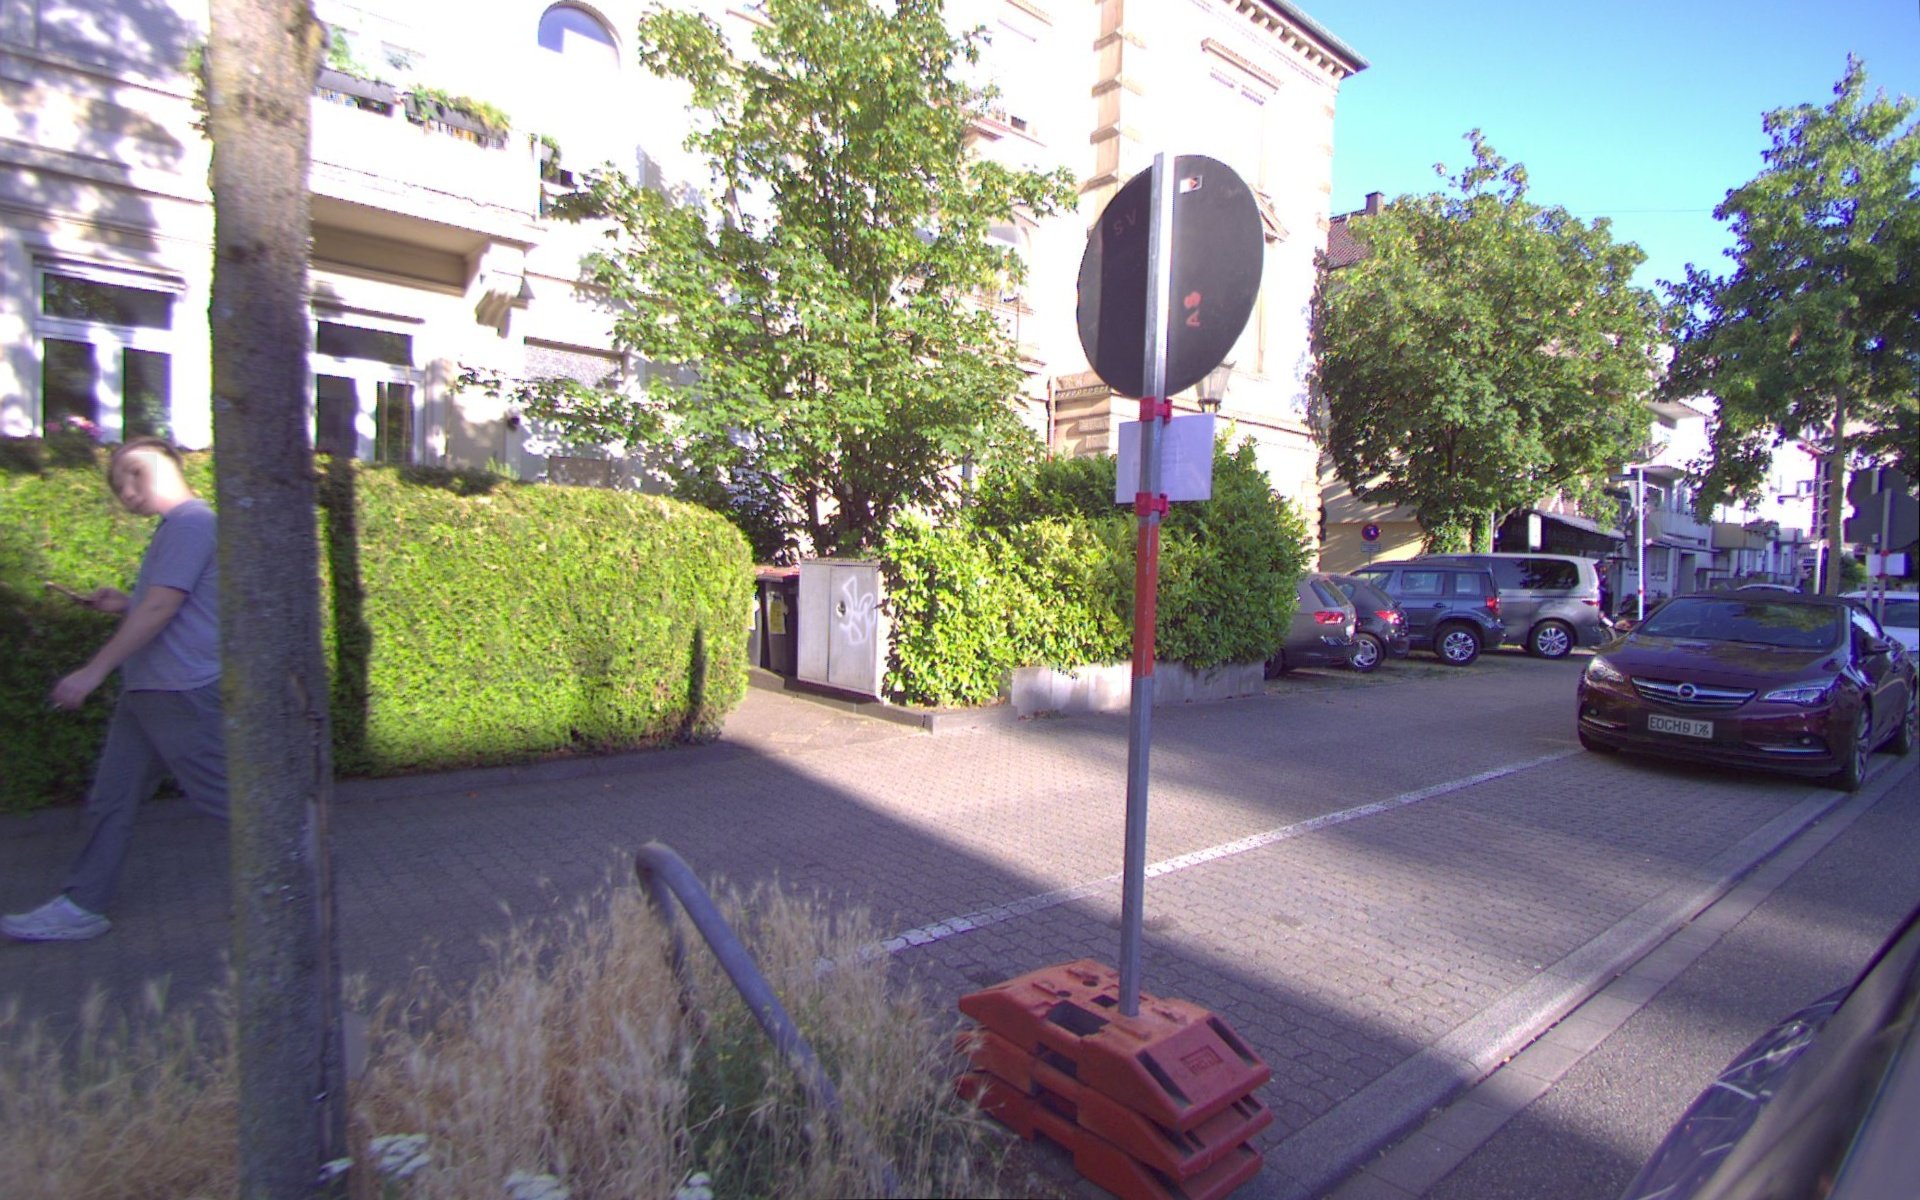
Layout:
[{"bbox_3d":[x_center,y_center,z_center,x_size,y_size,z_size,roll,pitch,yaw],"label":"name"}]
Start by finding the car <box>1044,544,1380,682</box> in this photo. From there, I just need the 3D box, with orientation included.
[{"bbox_3d":[3.492,0.082,14.269,4.220,1.529,1.772,4,3,32],"label":"car"}]

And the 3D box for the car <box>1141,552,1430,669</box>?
[{"bbox_3d":[5.086,0.085,15.882,4.061,1.458,1.701,4,3,27],"label":"car"}]

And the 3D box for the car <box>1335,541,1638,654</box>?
[{"bbox_3d":[9.810,-0.115,19.370,4.881,1.923,1.907,2,2,22],"label":"car"}]

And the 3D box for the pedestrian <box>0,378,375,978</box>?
[{"bbox_3d":[-2.822,0.219,3.645,1.071,1.796,0.821,0,2,-45],"label":"pedestrian"}]

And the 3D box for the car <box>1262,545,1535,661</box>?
[{"bbox_3d":[7.399,-0.016,17.462,4.050,1.720,1.776,3,2,21],"label":"car"}]

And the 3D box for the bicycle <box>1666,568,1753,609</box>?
[{"bbox_3d":[28.222,-0.448,38.138,0.912,1.459,2.457,0,2,-42],"label":"bicycle"}]

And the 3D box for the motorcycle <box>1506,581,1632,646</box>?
[{"bbox_3d":[12.784,0.259,21.278,2.153,1.255,0.778,3,2,40],"label":"motorcycle"}]

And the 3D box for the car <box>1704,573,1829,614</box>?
[{"bbox_3d":[33.143,-0.309,41.662,1.550,1.523,3.869,-1,3,-45],"label":"car"}]

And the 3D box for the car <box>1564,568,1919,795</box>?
[{"bbox_3d":[7.161,0.512,8.937,4.534,1.437,1.761,-1,4,-41],"label":"car"}]

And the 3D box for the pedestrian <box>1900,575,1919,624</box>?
[{"bbox_3d":[35.329,-0.020,37.505,0.552,1.794,0.619,1,1,-40],"label":"pedestrian"}]

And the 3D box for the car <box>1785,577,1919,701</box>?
[{"bbox_3d":[13.298,0.463,14.218,4.540,1.496,1.825,-1,2,-40],"label":"car"}]
